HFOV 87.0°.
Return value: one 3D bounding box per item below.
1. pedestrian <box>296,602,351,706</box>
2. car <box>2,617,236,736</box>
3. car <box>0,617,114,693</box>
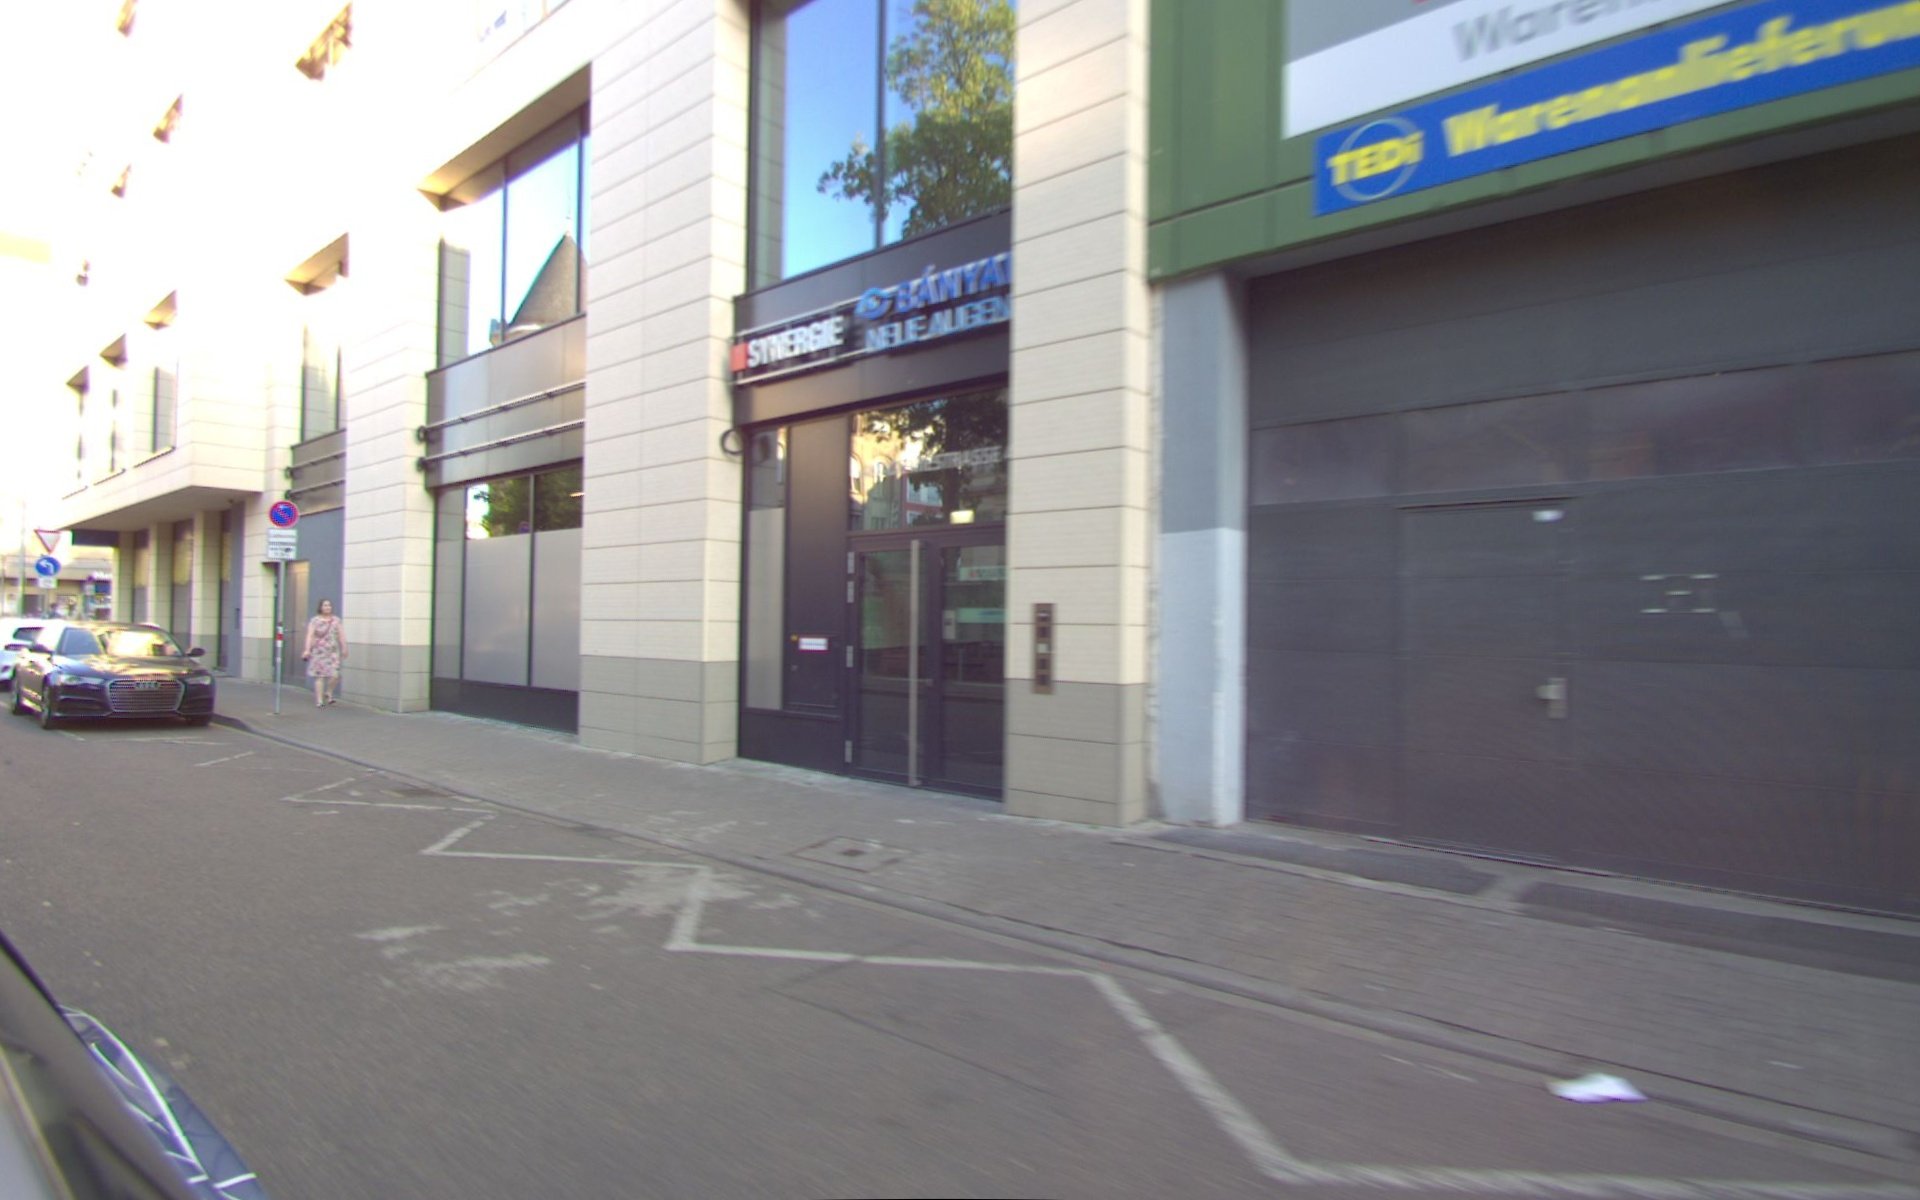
[{"bbox_3d":[-10.334,0.857,16.426,0.565,1.638,0.612,-1,-1,41],"label":"pedestrian"},{"bbox_3d":[-12.511,1.036,14.949,4.558,1.428,1.972,0,-3,42],"label":"car"},{"bbox_3d":[-19.369,1.114,21.116,3.623,1.460,1.796,-1,-4,37],"label":"car"}]
